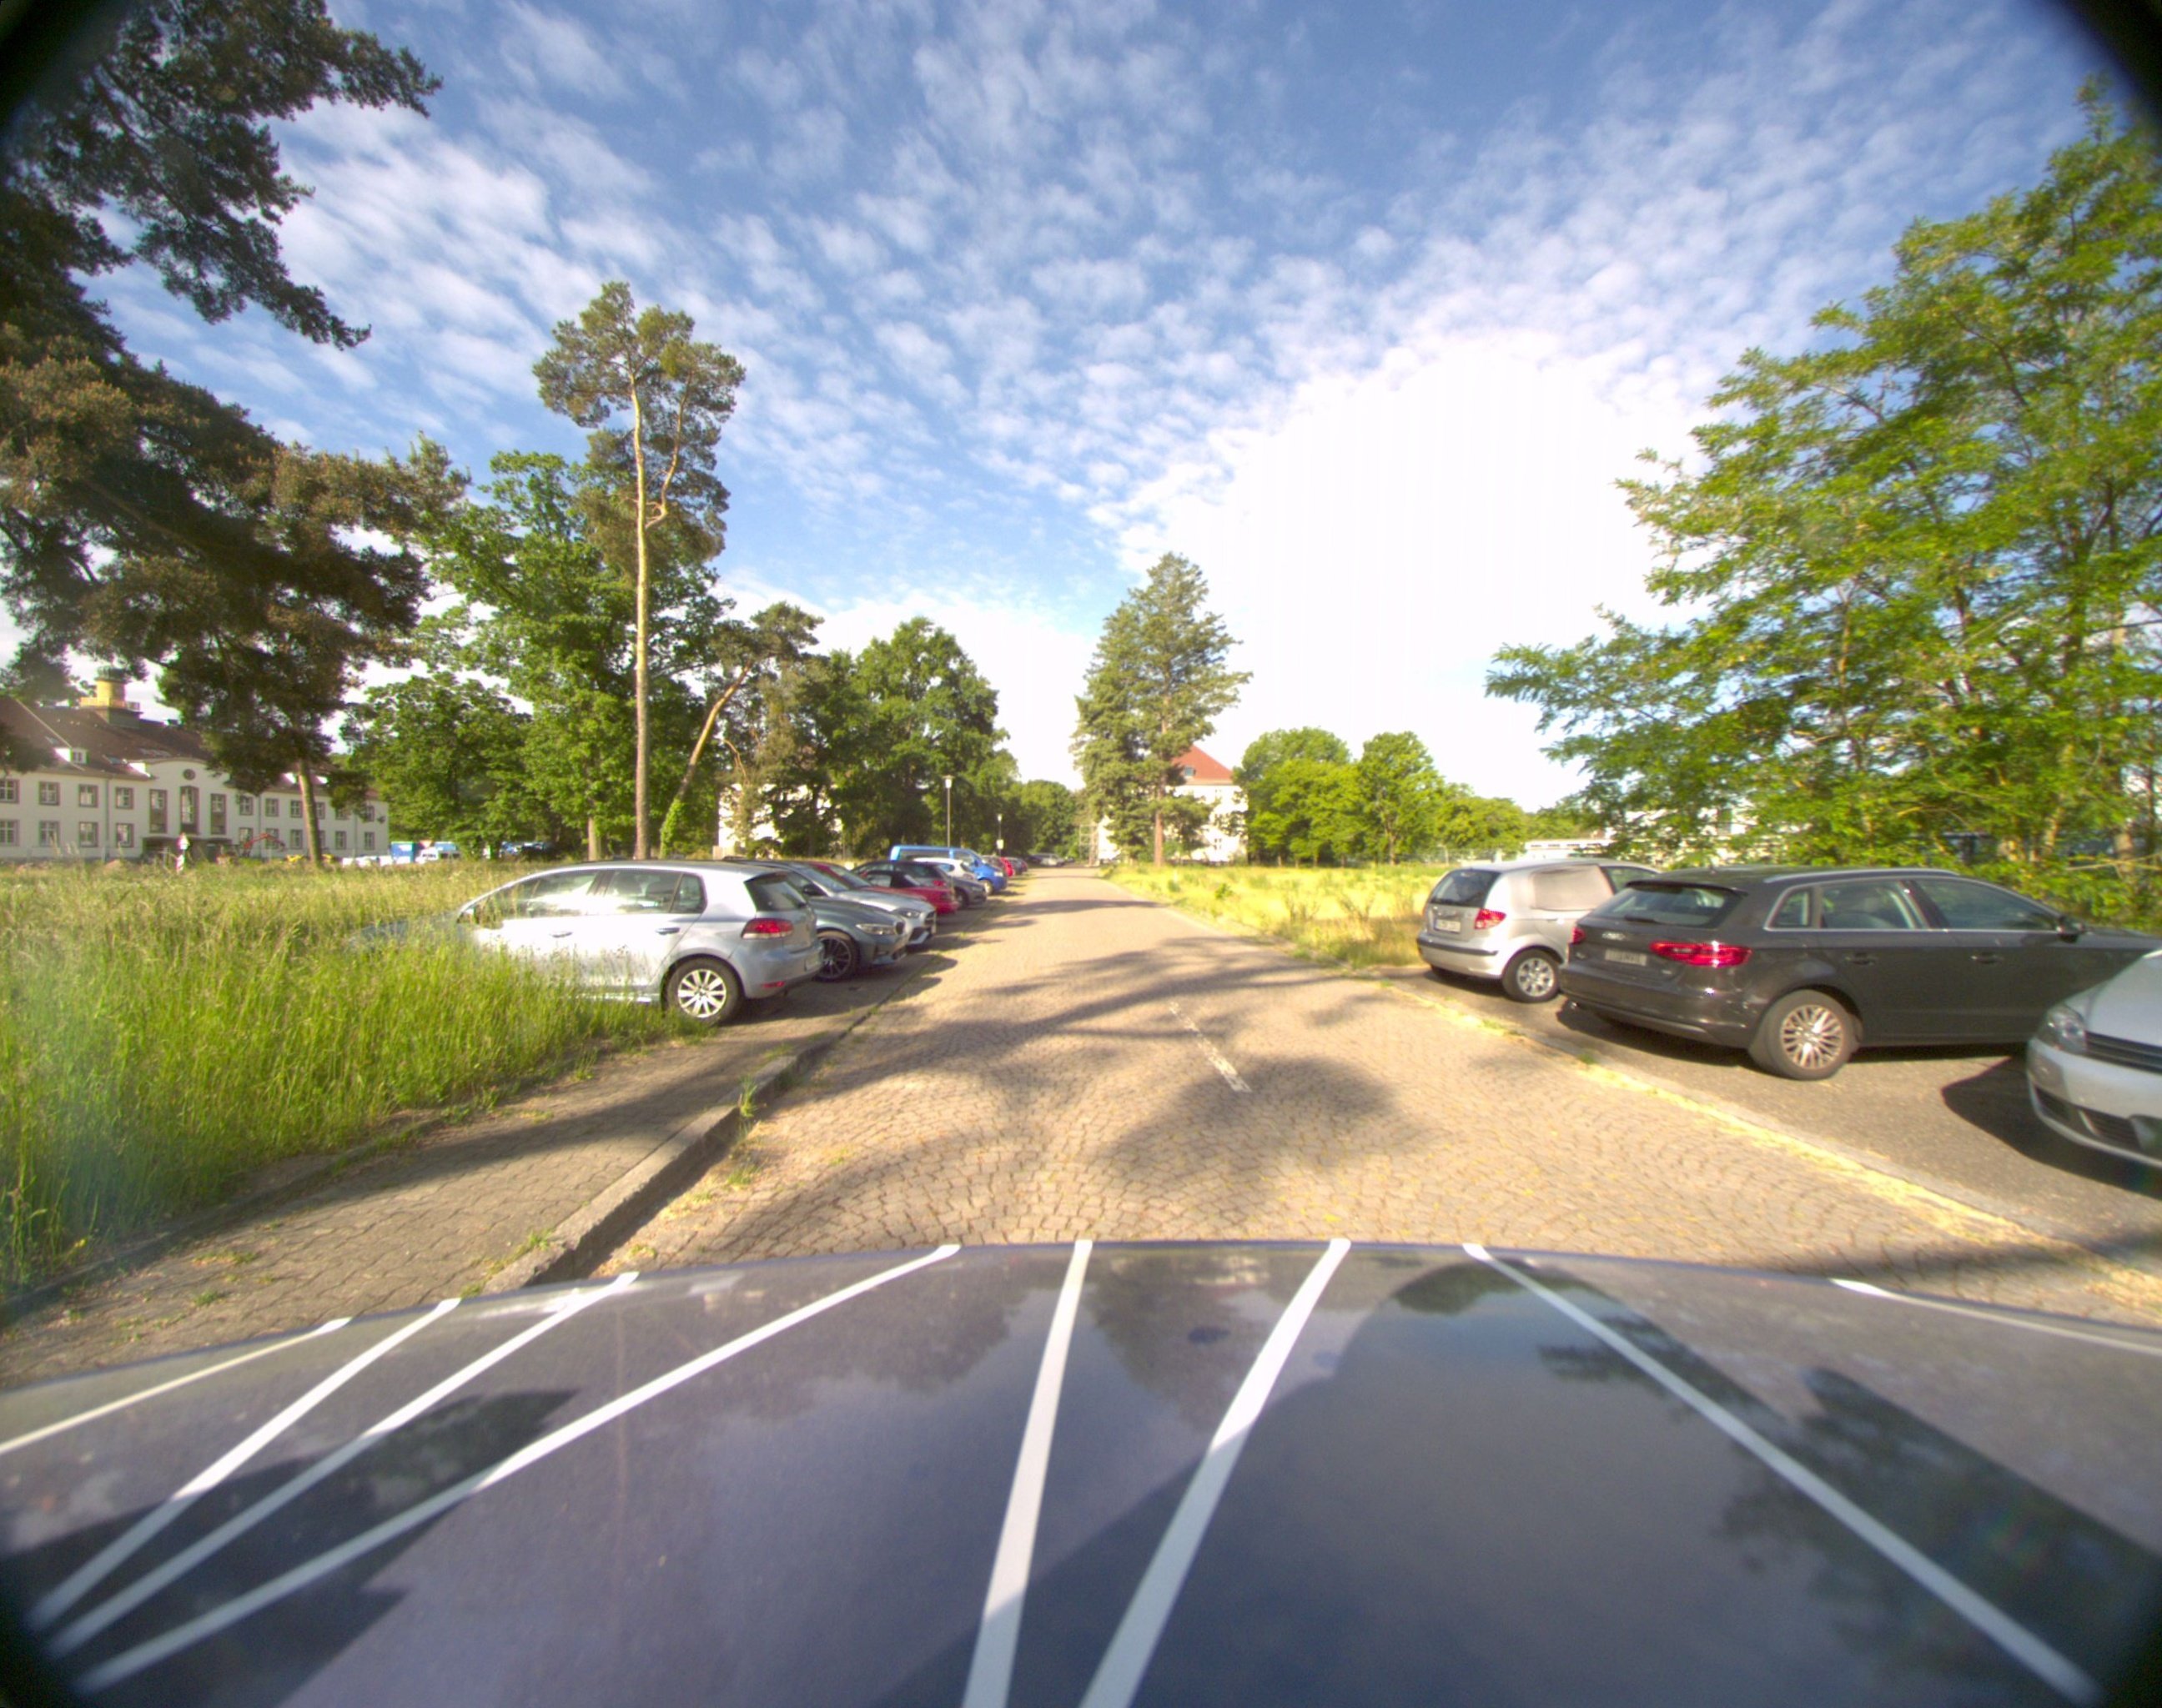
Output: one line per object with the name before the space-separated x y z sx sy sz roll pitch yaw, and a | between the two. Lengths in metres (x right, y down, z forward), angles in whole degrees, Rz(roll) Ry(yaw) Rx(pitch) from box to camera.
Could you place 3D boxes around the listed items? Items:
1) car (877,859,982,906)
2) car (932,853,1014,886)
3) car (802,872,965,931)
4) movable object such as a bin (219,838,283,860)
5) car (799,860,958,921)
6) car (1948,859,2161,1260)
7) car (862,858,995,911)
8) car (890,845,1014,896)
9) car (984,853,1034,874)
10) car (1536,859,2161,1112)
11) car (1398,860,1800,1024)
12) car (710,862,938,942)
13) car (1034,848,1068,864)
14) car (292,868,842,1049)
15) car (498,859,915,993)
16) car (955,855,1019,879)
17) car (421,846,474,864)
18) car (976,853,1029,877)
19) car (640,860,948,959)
car | -5.078 0.943 25.724 3.265 1.482 1.449 0 1 1
car | -5.651 0.799 40.029 3.997 1.630 1.757 0 1 1
car | -4.402 1.053 17.259 3.357 1.248 1.419 0 1 -2
movable object such as a bin | -93.089 -0.538 85.325 1.999 2.309 4.984 0 0 -5
car | -5.202 0.929 19.857 3.780 1.482 1.549 0 1 -2
car | 6.472 0.808 3.223 3.956 1.616 1.721 -2 1 -6
car | -4.543 0.882 22.883 3.621 1.482 1.508 0 1 8
car | -5.190 0.633 31.067 4.727 2.002 2.000 0 1 0
car | -6.153 0.811 65.351 3.996 1.605 1.756 -3 2 3
car | 5.952 0.872 5.905 3.807 1.462 1.687 -3 1 -3
car | 5.685 0.895 8.598 3.475 1.462 1.635 -3 1 -5
car | -4.927 0.906 14.960 3.918 1.385 1.660 1 0 -2
car | -4.551 0.288 114.085 5.069 2.251 1.999 0 1 -2
car | -4.632 0.919 7.385 4.027 1.452 1.870 1 0 -2
car | -4.595 0.884 9.929 4.508 1.508 1.825 1 0 -5
car | -6.204 0.844 50.375 3.997 1.509 1.757 0 1 1
car | -70.999 0.085 85.210 1.999 2.002 4.772 0 0 -1
car | -6.241 0.859 60.565 3.997 1.731 1.757 -1 0 1
car | -4.600 0.880 12.712 4.424 1.394 1.825 2 0 -3
